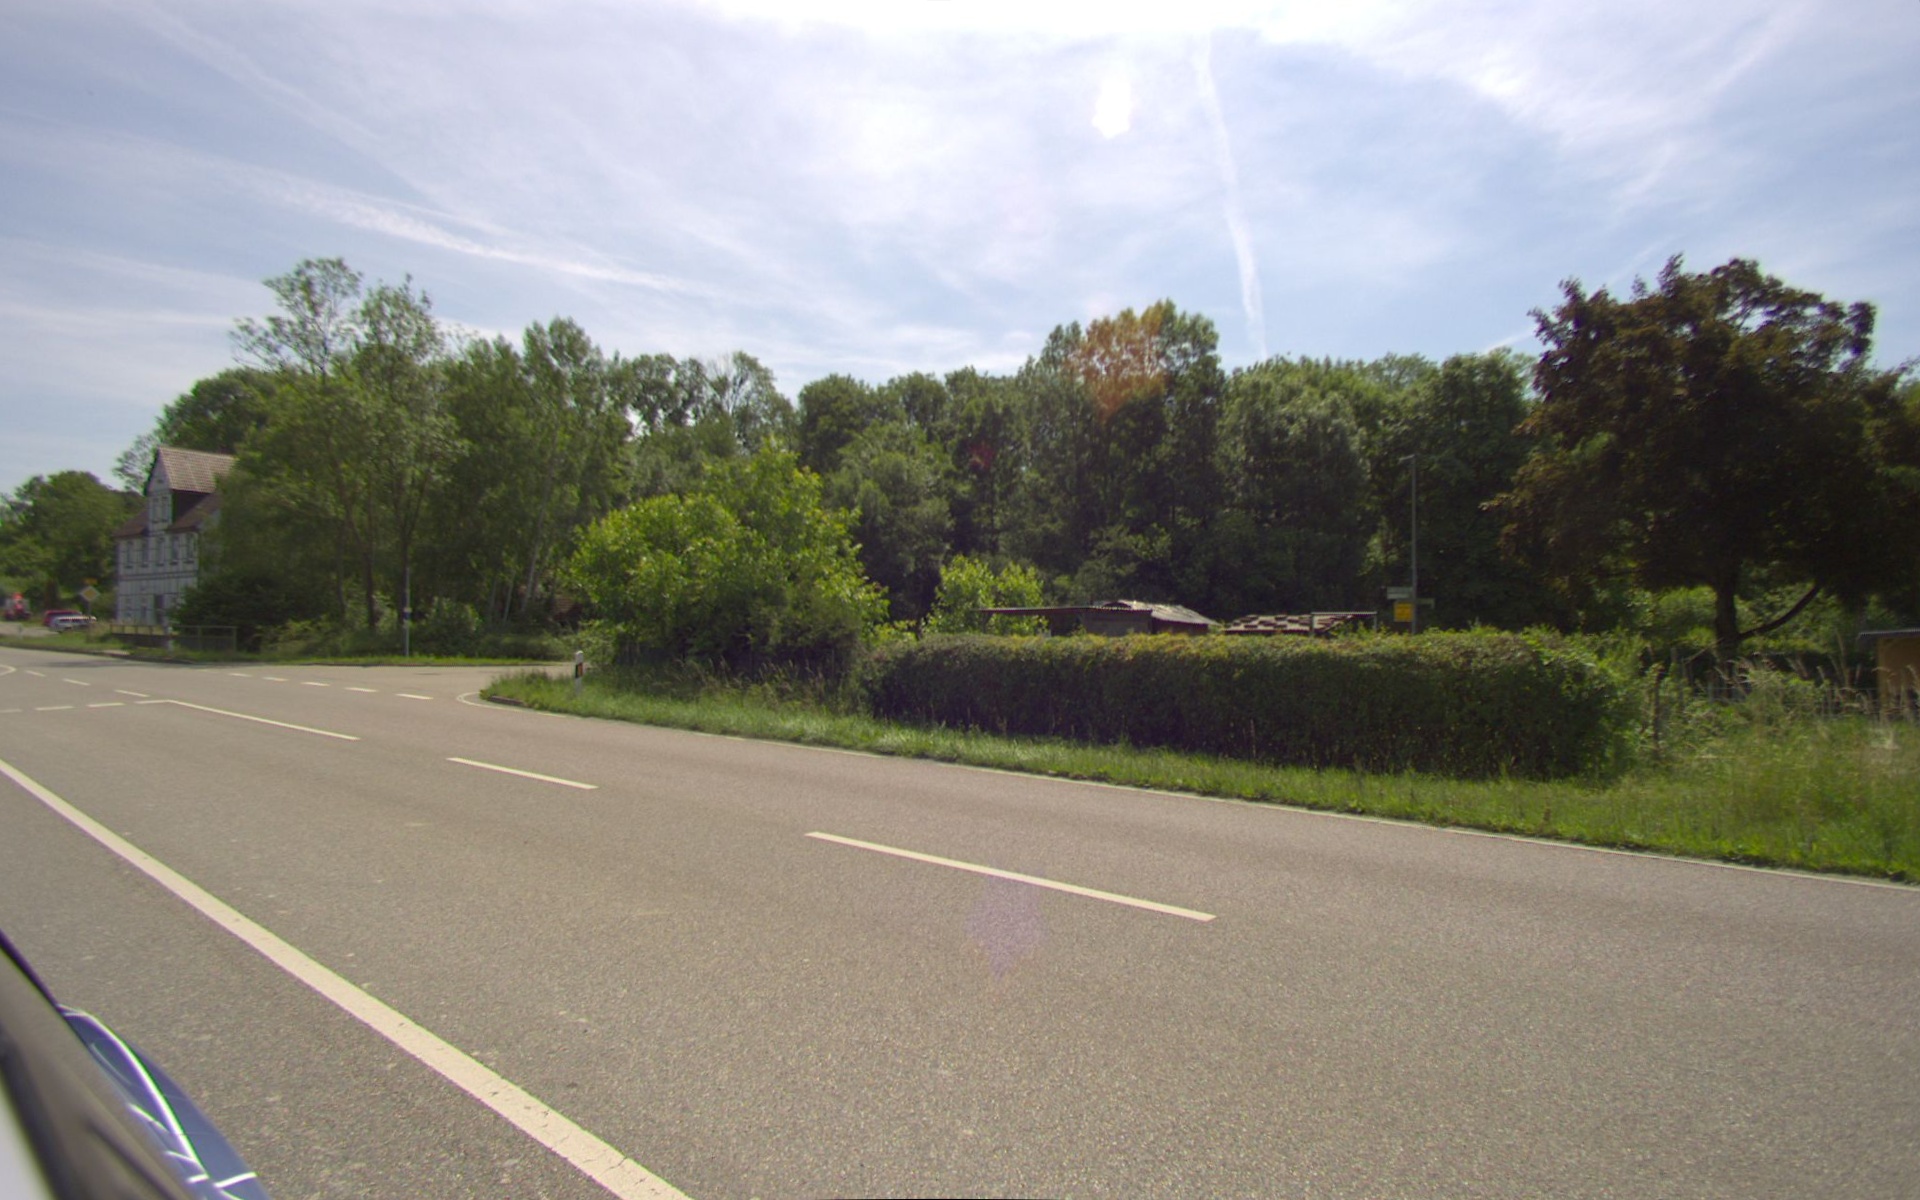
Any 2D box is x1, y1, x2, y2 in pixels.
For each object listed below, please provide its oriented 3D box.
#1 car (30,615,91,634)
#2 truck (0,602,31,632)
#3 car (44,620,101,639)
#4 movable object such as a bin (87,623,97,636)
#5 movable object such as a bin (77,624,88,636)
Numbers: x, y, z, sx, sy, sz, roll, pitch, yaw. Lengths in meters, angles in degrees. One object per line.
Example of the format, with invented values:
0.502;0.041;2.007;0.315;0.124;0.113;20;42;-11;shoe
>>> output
-82.591;2.236;92.991;1.832;1.631;3.986;1;0;40;car
-99.069;1.729;105.862;6.769;2.986;2.006;1;1;40;truck
-75.375;2.492;85.951;1.606;1.476;3.350;0;0;33;car
-72.841;2.469;84.939;0.652;0.983;0.499;1;0;32;movable object such as a bin
-73.177;2.488;84.417;0.652;0.978;0.499;1;0;32;movable object such as a bin
